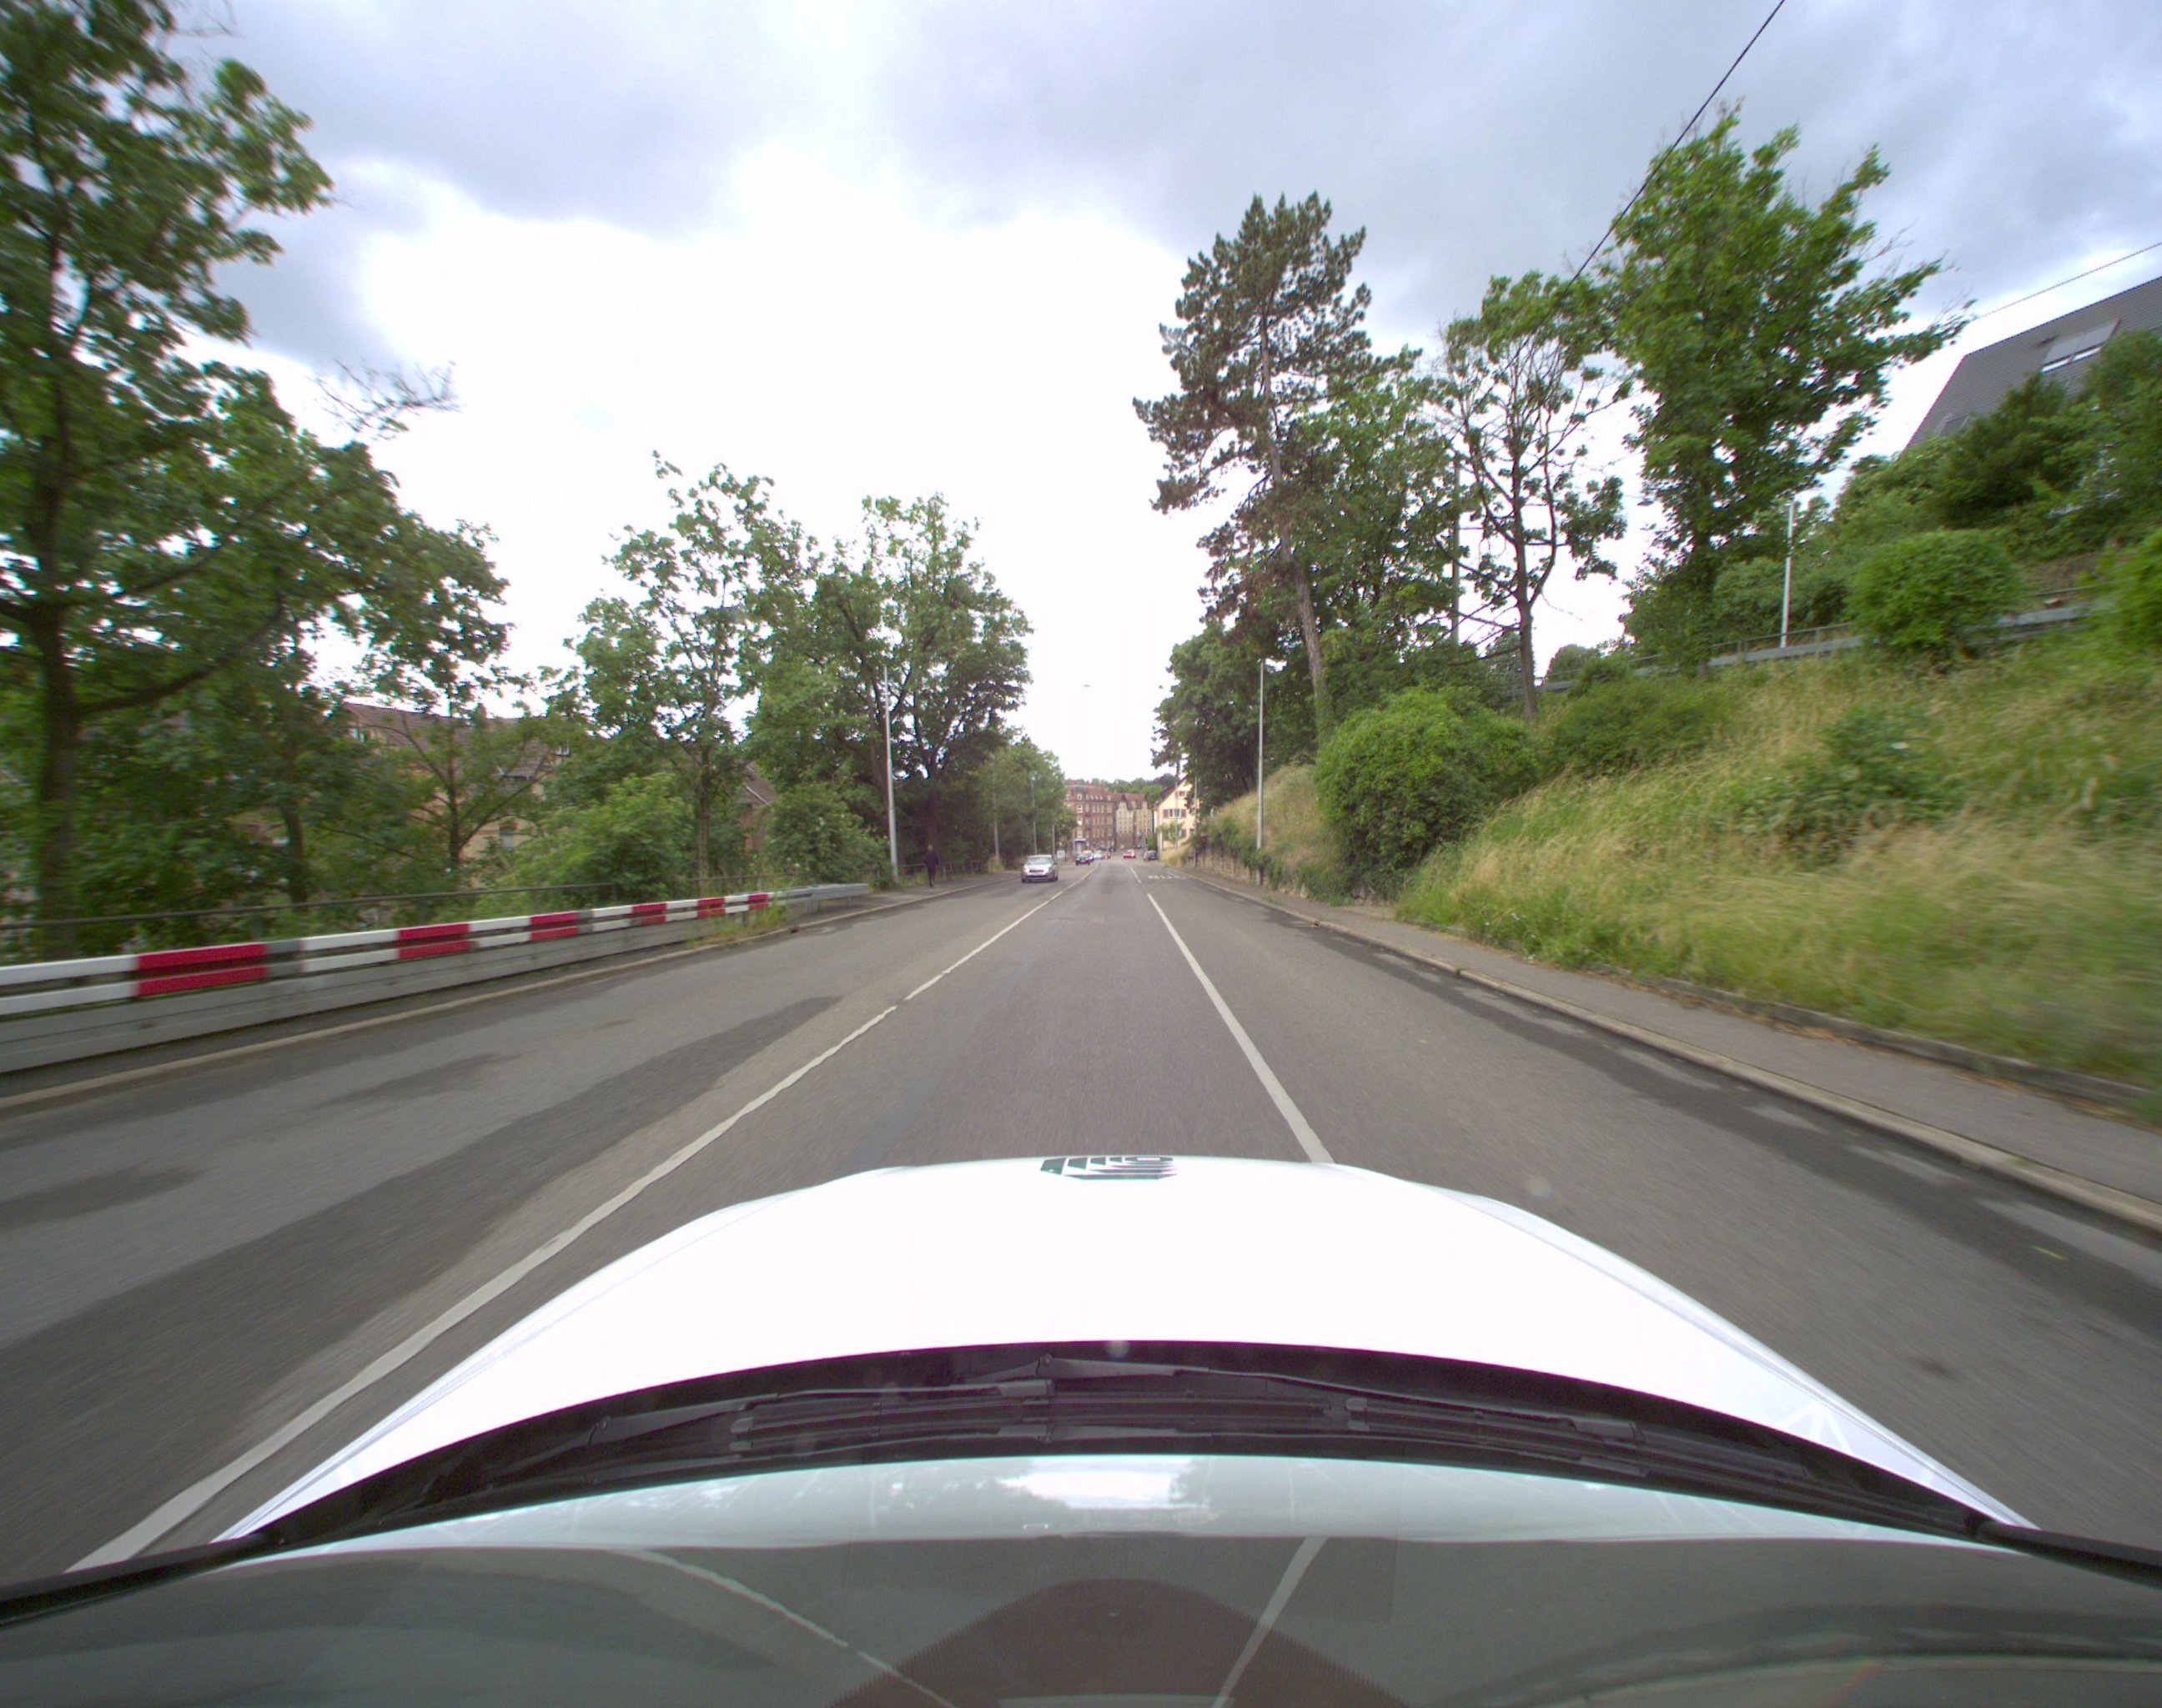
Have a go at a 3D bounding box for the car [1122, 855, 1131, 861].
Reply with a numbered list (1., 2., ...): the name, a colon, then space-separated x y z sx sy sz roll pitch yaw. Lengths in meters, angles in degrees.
1. car: 10.391 0.851 186.456 1.807 1.430 4.008 0 0 7

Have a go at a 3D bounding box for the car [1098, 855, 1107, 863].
1. car: 4.600 1.032 171.099 1.777 1.459 4.430 -2 0 2

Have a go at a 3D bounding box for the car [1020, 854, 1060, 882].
1. car: -2.185 0.736 44.396 1.787 1.427 4.146 -1 0 3

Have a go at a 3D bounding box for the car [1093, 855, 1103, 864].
1. car: 3.215 0.965 152.695 1.777 1.574 4.283 -2 0 2

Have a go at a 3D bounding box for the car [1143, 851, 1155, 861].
1. car: 11.333 0.257 134.859 1.785 1.451 4.726 -4 0 6

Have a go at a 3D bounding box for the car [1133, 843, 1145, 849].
1. car: 18.221 -2.475 255.605 1.964 1.575 4.400 -3 0 25

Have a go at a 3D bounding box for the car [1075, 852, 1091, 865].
1. car: 0.226 0.516 95.541 1.662 1.447 3.691 -2 0 3

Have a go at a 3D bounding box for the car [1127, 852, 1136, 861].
1. car: 11.880 0.600 192.976 1.899 1.884 4.008 0 0 7

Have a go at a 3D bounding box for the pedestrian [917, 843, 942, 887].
1. pedestrian: -6.400 0.460 34.469 0.786 1.774 1.209 2 0 0

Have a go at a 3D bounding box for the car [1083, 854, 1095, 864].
1. car: 1.216 0.702 119.073 1.706 1.427 4.140 -2 0 2

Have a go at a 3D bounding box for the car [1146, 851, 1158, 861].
1. car: 10.978 0.346 125.989 1.675 1.451 4.002 -5 -1 2
